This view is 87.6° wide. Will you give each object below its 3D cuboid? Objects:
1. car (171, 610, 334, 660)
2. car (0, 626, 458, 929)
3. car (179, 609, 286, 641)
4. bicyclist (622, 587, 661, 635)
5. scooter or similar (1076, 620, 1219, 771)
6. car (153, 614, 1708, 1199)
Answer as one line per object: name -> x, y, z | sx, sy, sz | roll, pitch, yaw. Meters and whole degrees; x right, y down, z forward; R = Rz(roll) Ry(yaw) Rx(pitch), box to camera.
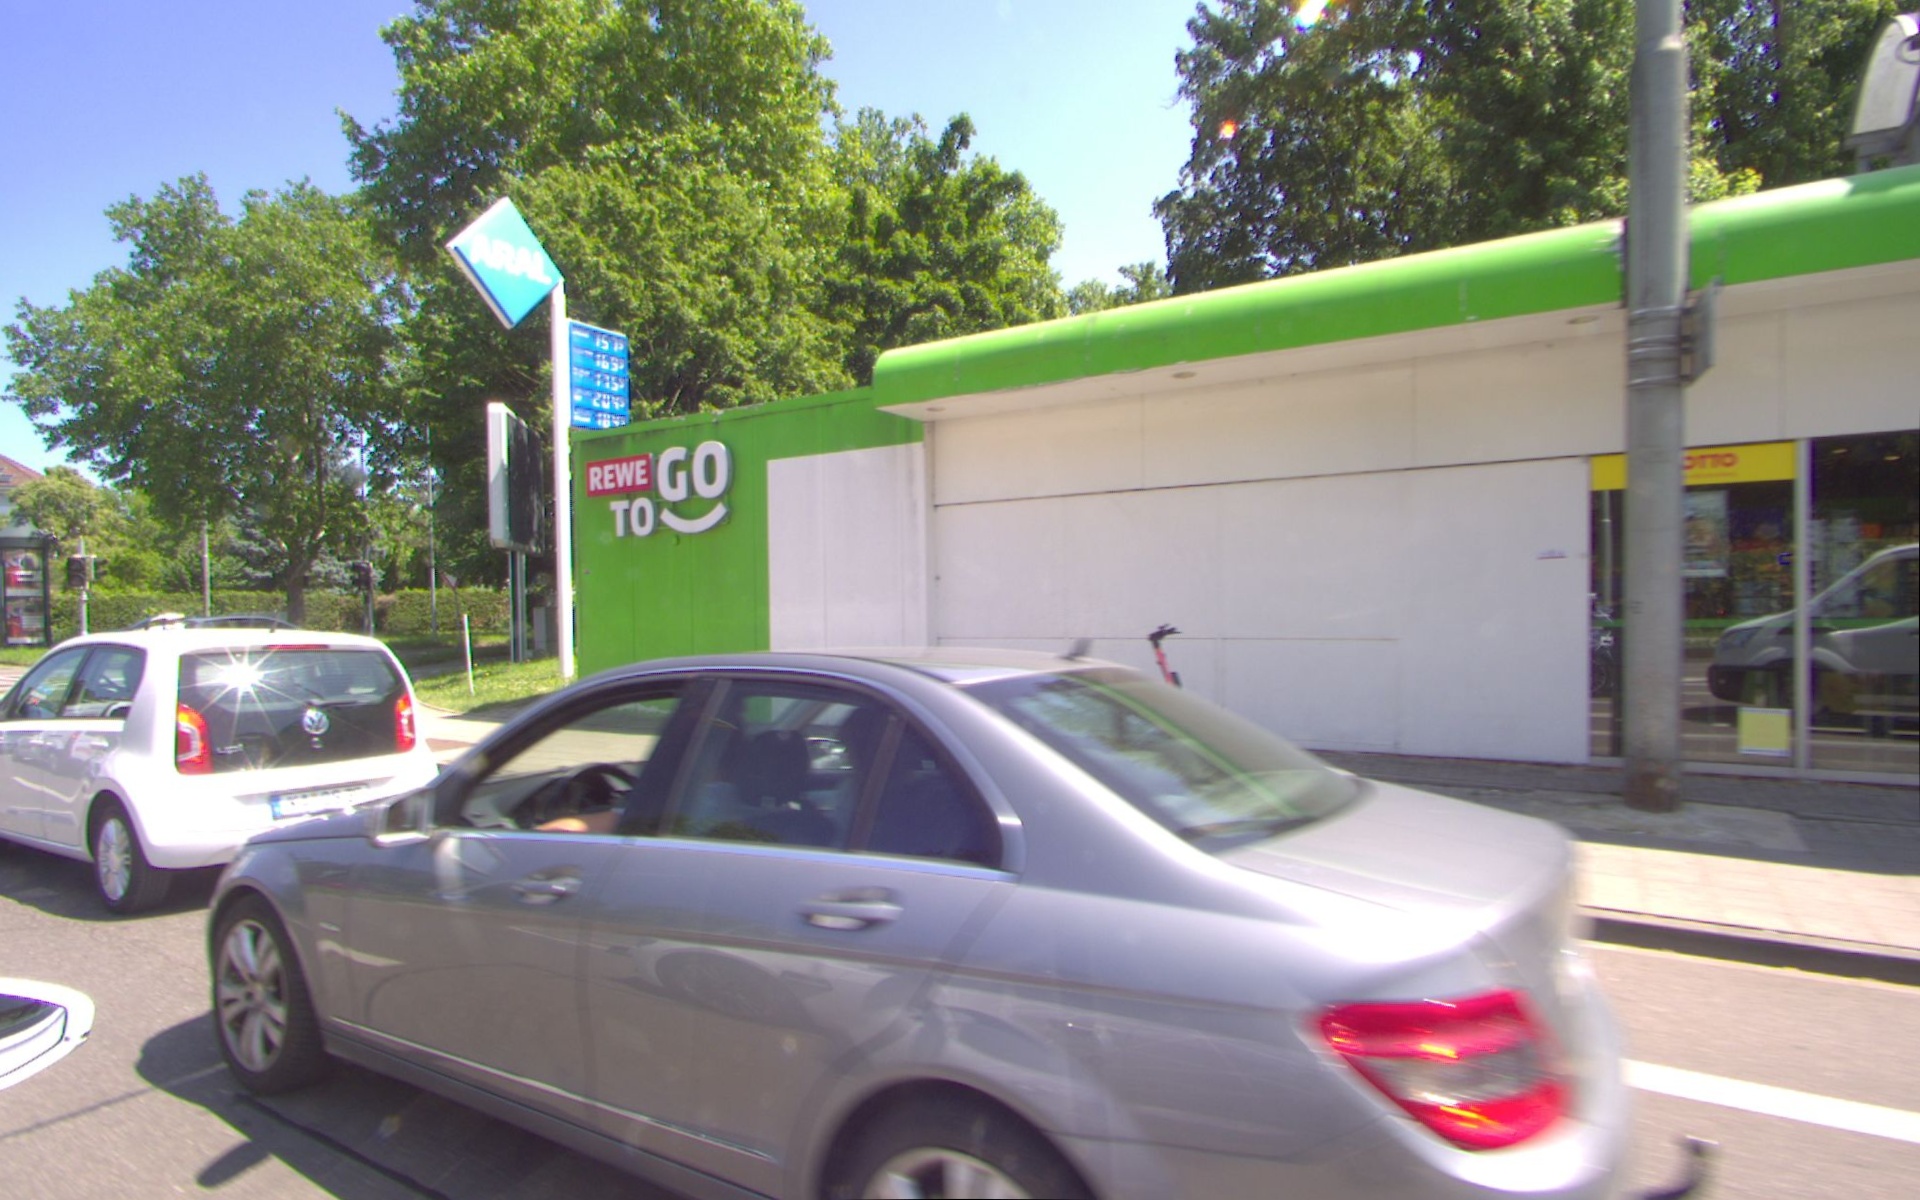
car -> -25.297, 1.210, 35.914 | 1.976, 1.638, 4.420 | -1, 0, 40
car -> -5.021, 0.905, 6.462 | 3.469, 1.470, 1.605 | -1, -1, 31
car -> -36.333, 1.208, 50.058 | 1.976, 1.528, 3.970 | -1, 0, 39
bicyclist -> -11.892, 0.401, 37.383 | 1.109, 1.762, 0.957 | -1, 0, 4
scooter or similar -> 1.606, 0.791, 8.639 | 1.124, 1.211, 0.381 | -1, 3, 36
car -> -0.502, 0.797, 3.093 | 4.354, 1.468, 1.792 | -1, 0, 32
